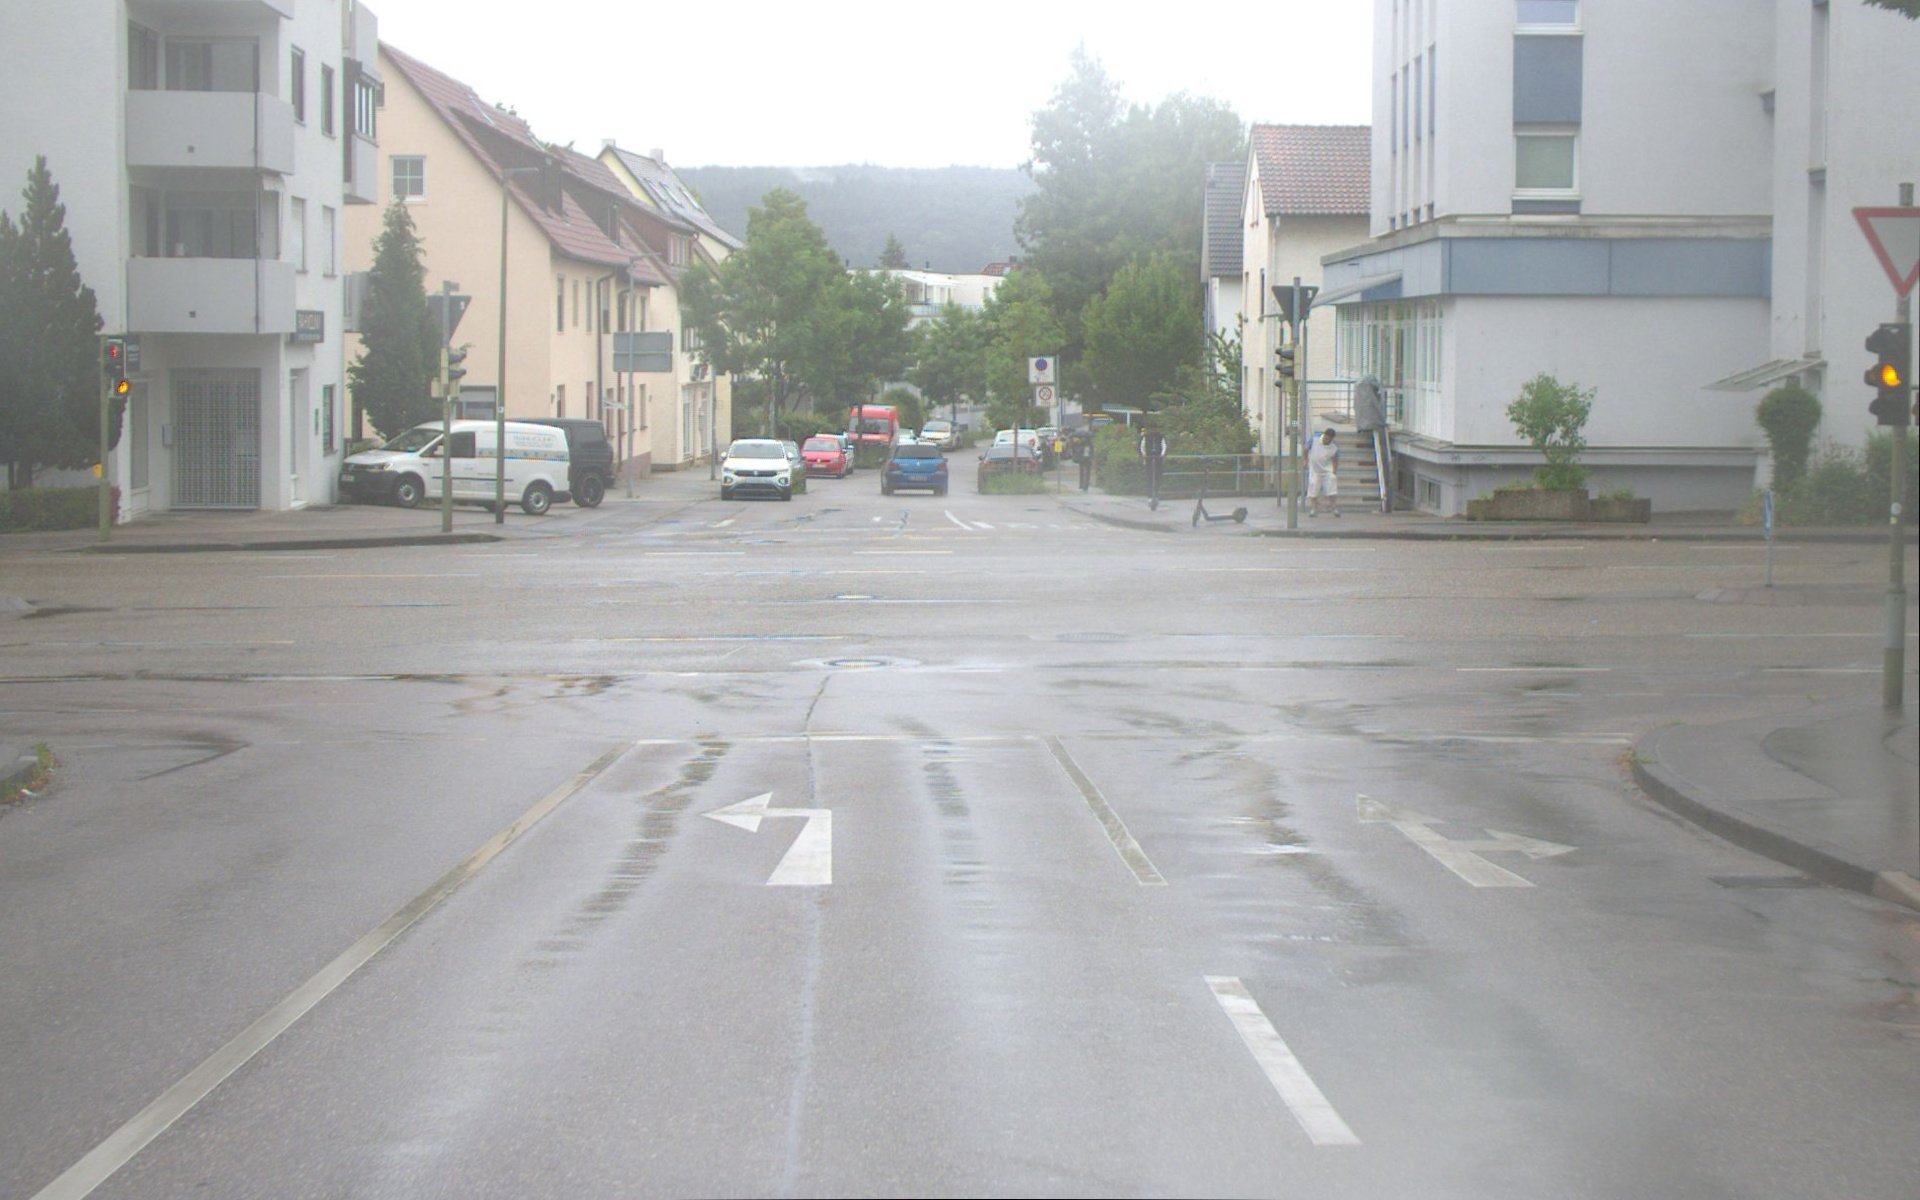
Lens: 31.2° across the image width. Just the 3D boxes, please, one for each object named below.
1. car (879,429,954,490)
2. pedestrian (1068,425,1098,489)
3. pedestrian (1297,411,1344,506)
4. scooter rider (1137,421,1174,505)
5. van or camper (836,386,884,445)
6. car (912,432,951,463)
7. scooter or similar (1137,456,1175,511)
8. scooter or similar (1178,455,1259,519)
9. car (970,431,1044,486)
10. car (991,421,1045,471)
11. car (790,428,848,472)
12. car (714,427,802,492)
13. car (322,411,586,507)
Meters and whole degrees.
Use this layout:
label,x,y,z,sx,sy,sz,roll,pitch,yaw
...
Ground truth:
label,x,y,z,sx,sy,sz,roll,pitch,yaw
car,-1.261,-3.996,97.251,1.993,1.678,4.001,-1,3,-2
pedestrian,3.624,-4.200,101.170,0.746,1.842,0.526,3,2,9
pedestrian,6.381,-2.503,60.811,0.647,1.641,0.526,3,2,-6
scooter rider,4.215,-2.960,74.286,0.752,1.789,0.673,-1,2,1
van or camper,-4.289,-7.926,147.975,1.901,2.504,4.239,-1,3,0
car,-1.445,-7.789,175.652,1.901,1.553,4.192,-1,3,0
scooter or similar,4.231,-2.523,74.379,0.757,1.167,1.314,-1,3,1
scooter or similar,4.489,-1.970,59.705,1.268,1.077,0.877,-1,3,-4
car,1.386,-4.228,102.525,2.146,1.583,4.128,-1,3,0
car,2.098,-5.586,124.755,1.901,1.739,4.192,-1,3,0
car,-5.133,-5.484,125.446,1.901,1.553,4.192,-1,3,0
car,-5.203,-3.650,89.019,1.993,1.620,4.192,-1,3,0
car,-10.094,-2.829,68.776,4.830,1.829,2.000,-3,3,-38
